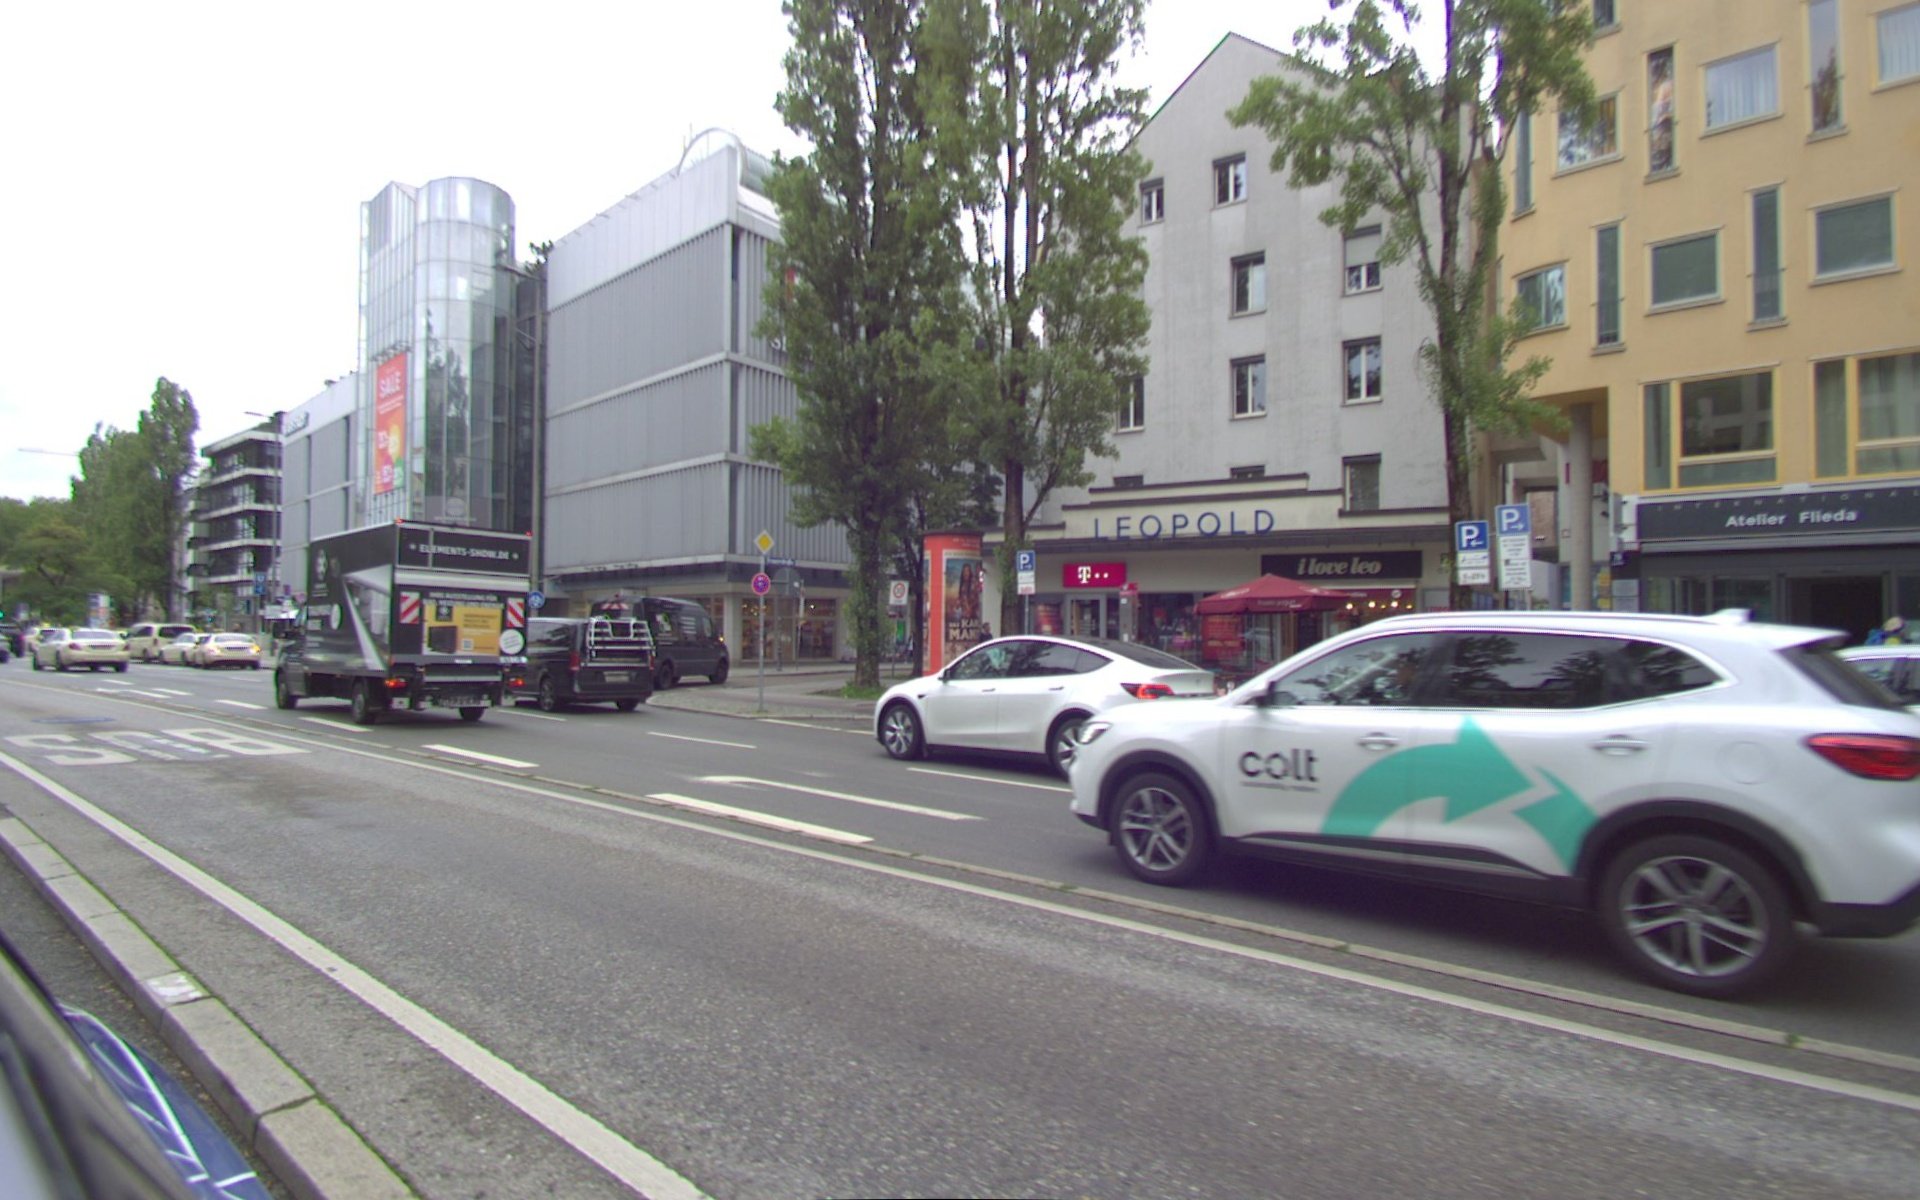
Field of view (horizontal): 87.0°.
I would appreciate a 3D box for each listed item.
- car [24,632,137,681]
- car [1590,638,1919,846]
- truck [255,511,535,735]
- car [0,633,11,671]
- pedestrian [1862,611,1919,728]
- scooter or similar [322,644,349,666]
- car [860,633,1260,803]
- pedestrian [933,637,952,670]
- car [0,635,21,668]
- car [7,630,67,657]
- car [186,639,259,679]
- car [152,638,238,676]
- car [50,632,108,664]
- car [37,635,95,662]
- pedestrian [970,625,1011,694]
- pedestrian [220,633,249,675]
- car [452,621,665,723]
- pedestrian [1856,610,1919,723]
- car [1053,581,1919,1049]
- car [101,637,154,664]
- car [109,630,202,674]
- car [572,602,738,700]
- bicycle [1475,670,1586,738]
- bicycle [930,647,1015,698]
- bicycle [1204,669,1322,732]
[{"bbox_3d":[-31.031,1.964,35.669,5.187,1.601,1.974,-1,-4,38],"label":"car"},{"bbox_3d":[8.287,1.167,8.825,1.970,1.642,4.385,3,-3,-44],"label":"car"},{"bbox_3d":[-10.470,0.466,18.385,7.157,3.348,2.266,-2,-4,43],"label":"truck"},{"bbox_3d":[-43.724,2.277,44.755,4.349,1.615,1.891,-1,-3,38],"label":"car"},{"bbox_3d":[13.573,0.982,14.641,0.763,1.638,0.830,-1,-1,43],"label":"pedestrian"},{"bbox_3d":[-34.424,3.027,55.764,1.367,1.148,0.366,-1,-2,13],"label":"scooter or similar"},{"bbox_3d":[1.046,1.254,12.307,4.637,1.664,1.971,-2,-4,44],"label":"car"},{"bbox_3d":[-0.923,2.823,53.522,0.750,1.685,0.709,-1,-3,29],"label":"pedestrian"},{"bbox_3d":[-51.789,2.711,53.765,4.975,1.729,1.999,-1,-3,38],"label":"car"},{"bbox_3d":[-57.650,2.691,63.168,4.461,1.624,1.575,-1,-3,32],"label":"car"},{"bbox_3d":[-29.866,2.359,40.924,1.834,1.481,4.988,4,-5,-42],"label":"car"},{"bbox_3d":[-34.143,2.503,45.134,5.081,1.564,1.957,-2,-3,40],"label":"car"},{"bbox_3d":[-48.101,2.613,55.235,4.382,1.711,1.865,-2,-4,43],"label":"car"},{"bbox_3d":[-52.182,2.806,59.030,4.845,1.552,1.925,-2,-3,42],"label":"car"},{"bbox_3d":[0.874,1.678,28.701,0.831,1.913,0.849,-1,-3,37],"label":"pedestrian"},{"bbox_3d":[-33.163,2.480,46.253,0.846,1.881,0.778,0,-4,40],"label":"pedestrian"},{"bbox_3d":[-8.649,1.457,21.474,5.713,1.878,1.971,-2,-4,44],"label":"car"},{"bbox_3d":[14.125,0.982,15.364,0.763,1.638,0.830,-1,-1,43],"label":"pedestrian"},{"bbox_3d":[2.873,0.877,5.703,4.537,1.724,1.839,-2,-4,44],"label":"car"},{"bbox_3d":[-49.514,2.988,60.178,3.997,1.548,1.734,-2,-3,40],"label":"car"},{"bbox_3d":[-38.583,2.451,48.499,5.309,2.029,1.976,-1,-3,35],"label":"car"},{"bbox_3d":[-8.916,1.474,30.352,2.154,2.625,6.041,0,-2,11],"label":"car"},{"bbox_3d":[8.878,1.602,15.795,0.289,0.983,1.479,3,-4,-45],"label":"bicycle"},{"bbox_3d":[0.336,1.975,27.903,2.300,1.318,0.839,-1,-3,37],"label":"bicycle"},{"bbox_3d":[5.133,1.690,17.218,1.878,0.971,0.454,-2,-3,38],"label":"bicycle"}]
